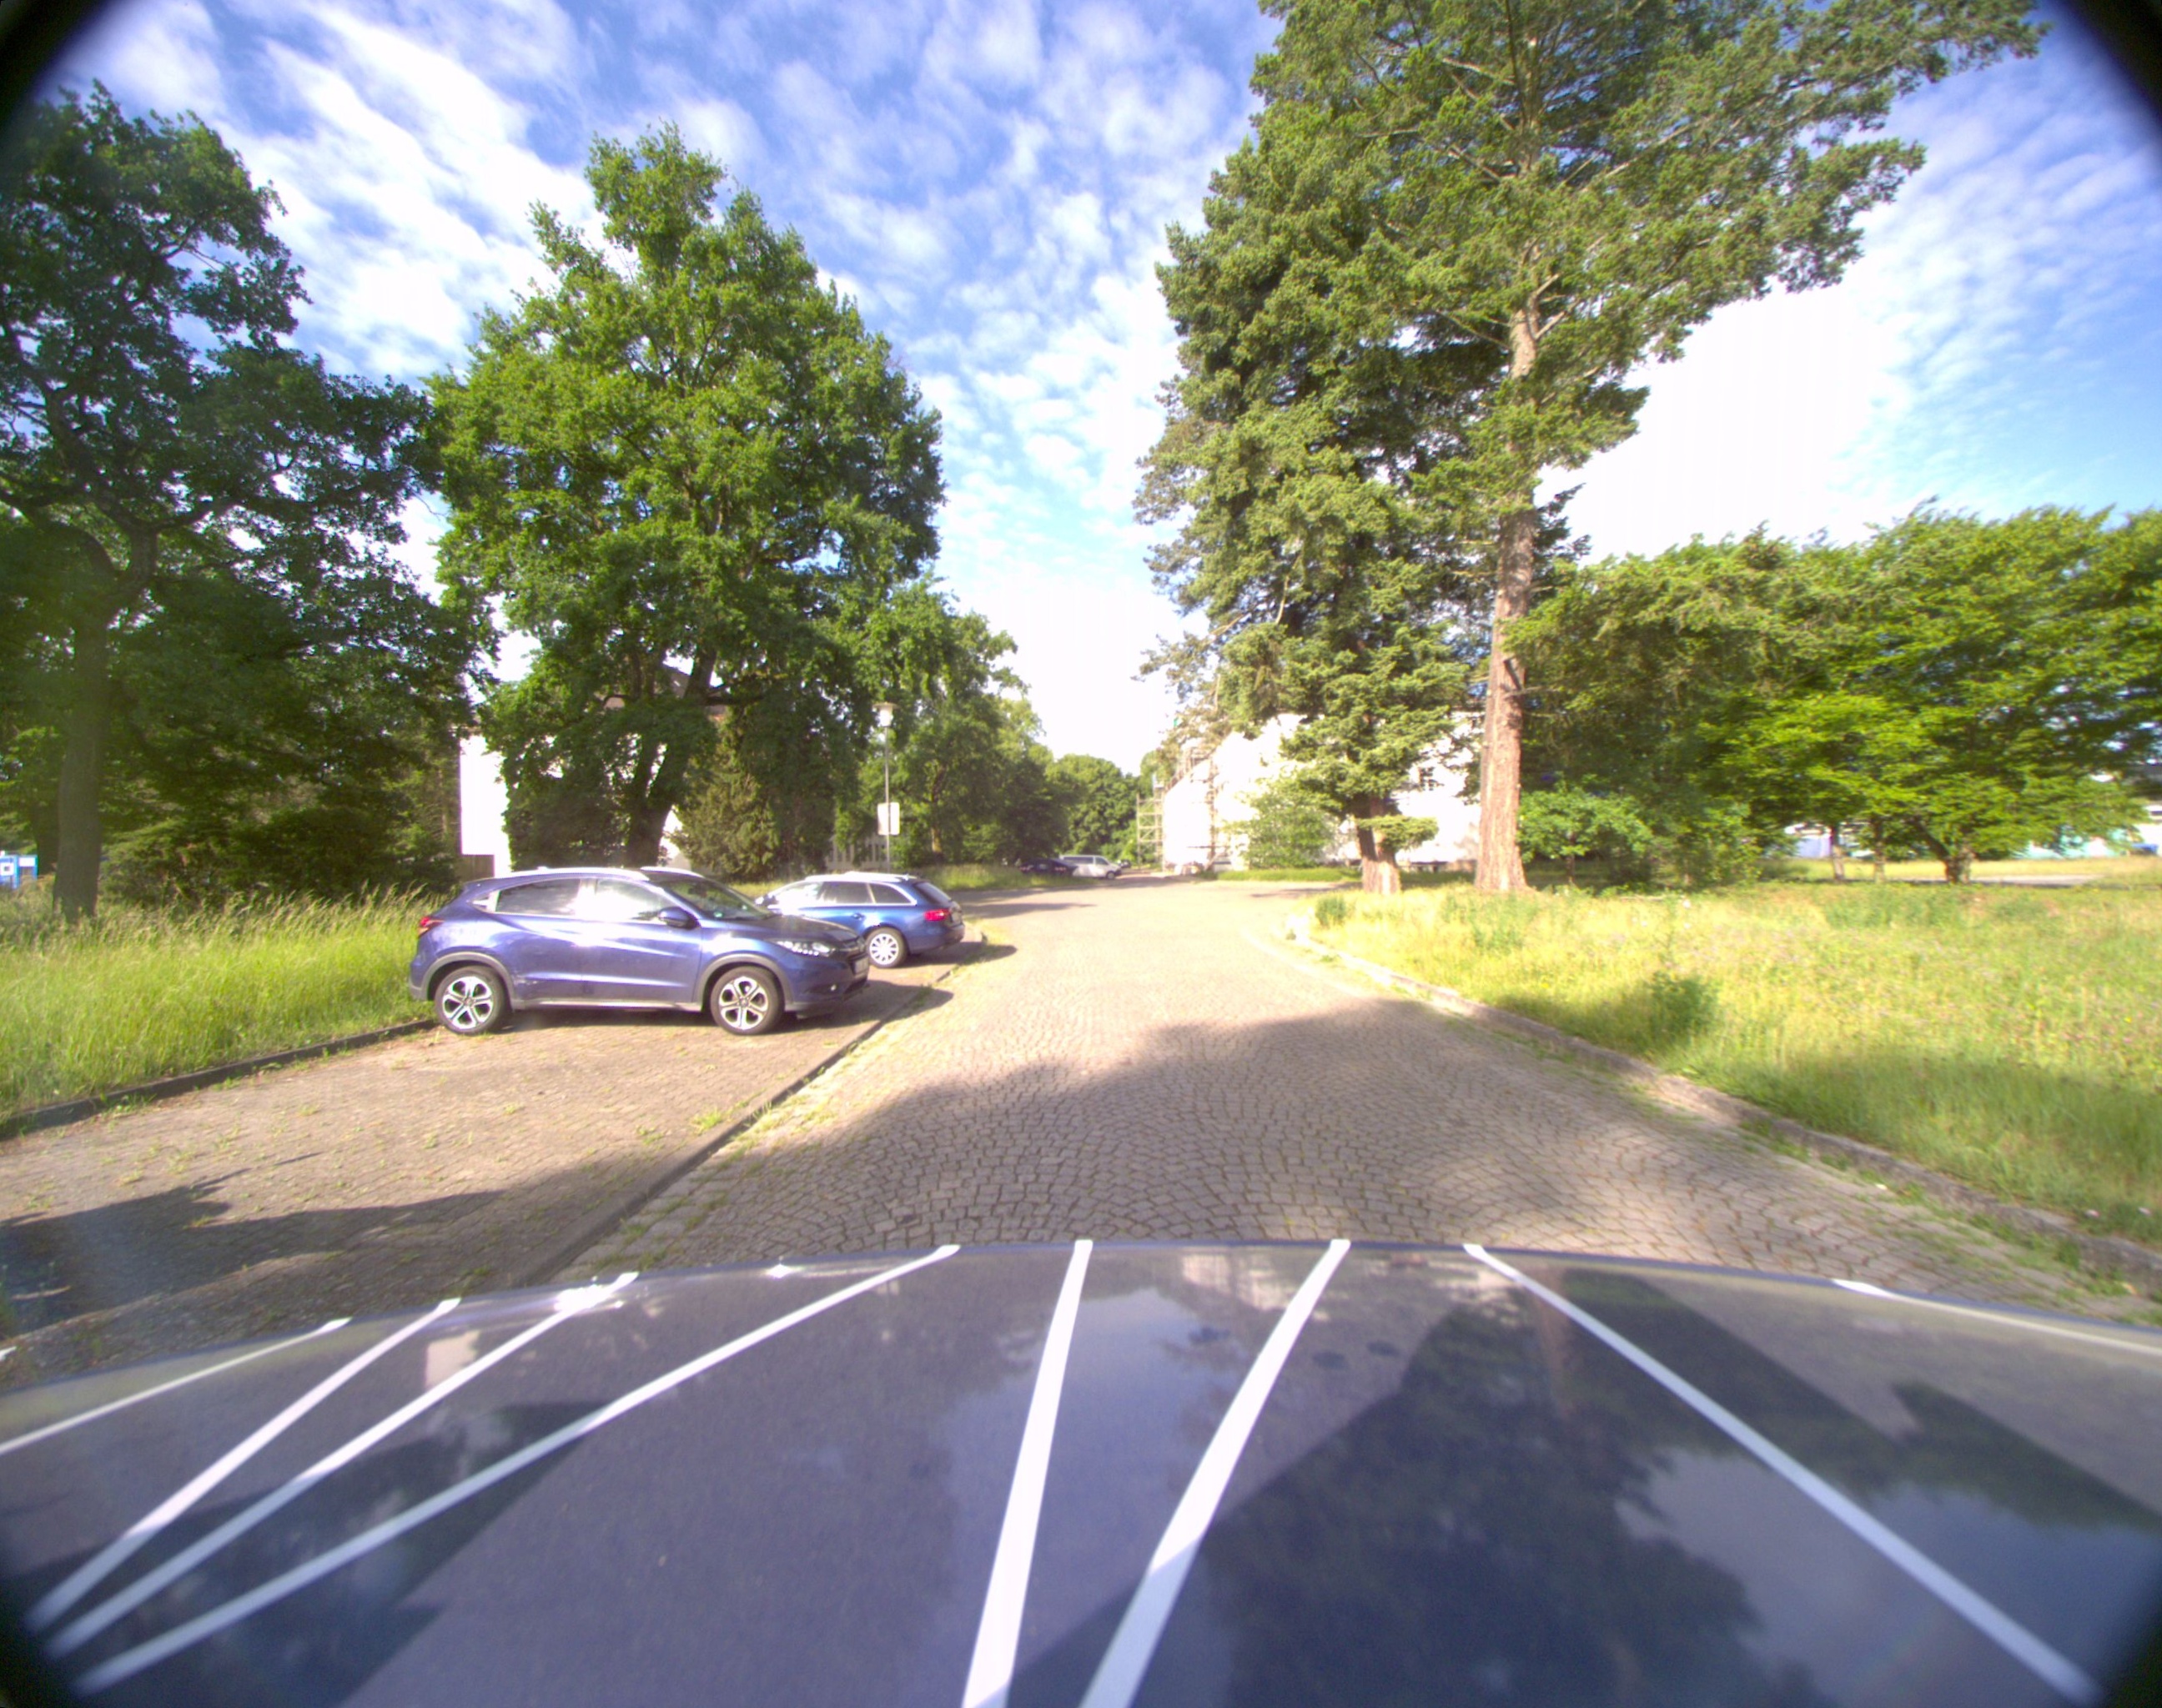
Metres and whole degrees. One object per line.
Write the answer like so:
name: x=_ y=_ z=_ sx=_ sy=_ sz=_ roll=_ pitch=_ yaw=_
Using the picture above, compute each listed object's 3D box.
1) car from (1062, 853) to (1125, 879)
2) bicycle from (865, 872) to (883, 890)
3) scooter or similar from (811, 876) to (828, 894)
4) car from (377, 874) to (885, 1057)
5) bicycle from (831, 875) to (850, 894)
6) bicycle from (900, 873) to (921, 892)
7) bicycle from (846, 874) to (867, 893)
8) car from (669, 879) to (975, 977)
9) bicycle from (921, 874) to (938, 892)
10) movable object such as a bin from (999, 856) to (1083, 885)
car: x=1.006 y=0.947 z=61.176 sx=4.936 sy=2.002 sz=2.000 roll=-1 pitch=0 yaw=1
bicycle: x=-12.585 y=1.627 z=46.120 sx=0.712 sy=1.010 sz=1.024 roll=-1 pitch=0 yaw=-36
scooter or similar: x=-14.101 y=1.675 z=40.983 sx=0.769 sy=0.924 sz=0.261 roll=-1 pitch=0 yaw=-5
car: x=-4.362 y=1.053 z=7.847 sx=4.187 sy=1.581 sz=1.751 roll=-1 pitch=0 yaw=1
bicycle: x=-13.158 y=1.667 z=41.636 sx=0.619 sy=1.010 sz=1.027 roll=-1 pitch=0 yaw=4
bicycle: x=-9.257 y=1.533 z=41.260 sx=0.710 sy=1.010 sz=1.257 roll=-1 pitch=0 yaw=9
bicycle: x=-12.387 y=1.649 z=41.994 sx=0.710 sy=1.010 sz=1.028 roll=-1 pitch=0 yaw=9
car: x=-4.133 y=1.162 z=12.552 sx=4.459 sy=1.399 sz=1.714 roll=0 pitch=0 yaw=4
bicycle: x=-8.288 y=1.560 z=41.646 sx=0.747 sy=0.929 sz=1.140 roll=-1 pitch=0 yaw=-2
movable object such as a bin: x=-2.525 y=1.035 z=48.399 sx=4.931 sy=1.749 sz=2.002 roll=-1 pitch=0 yaw=16
